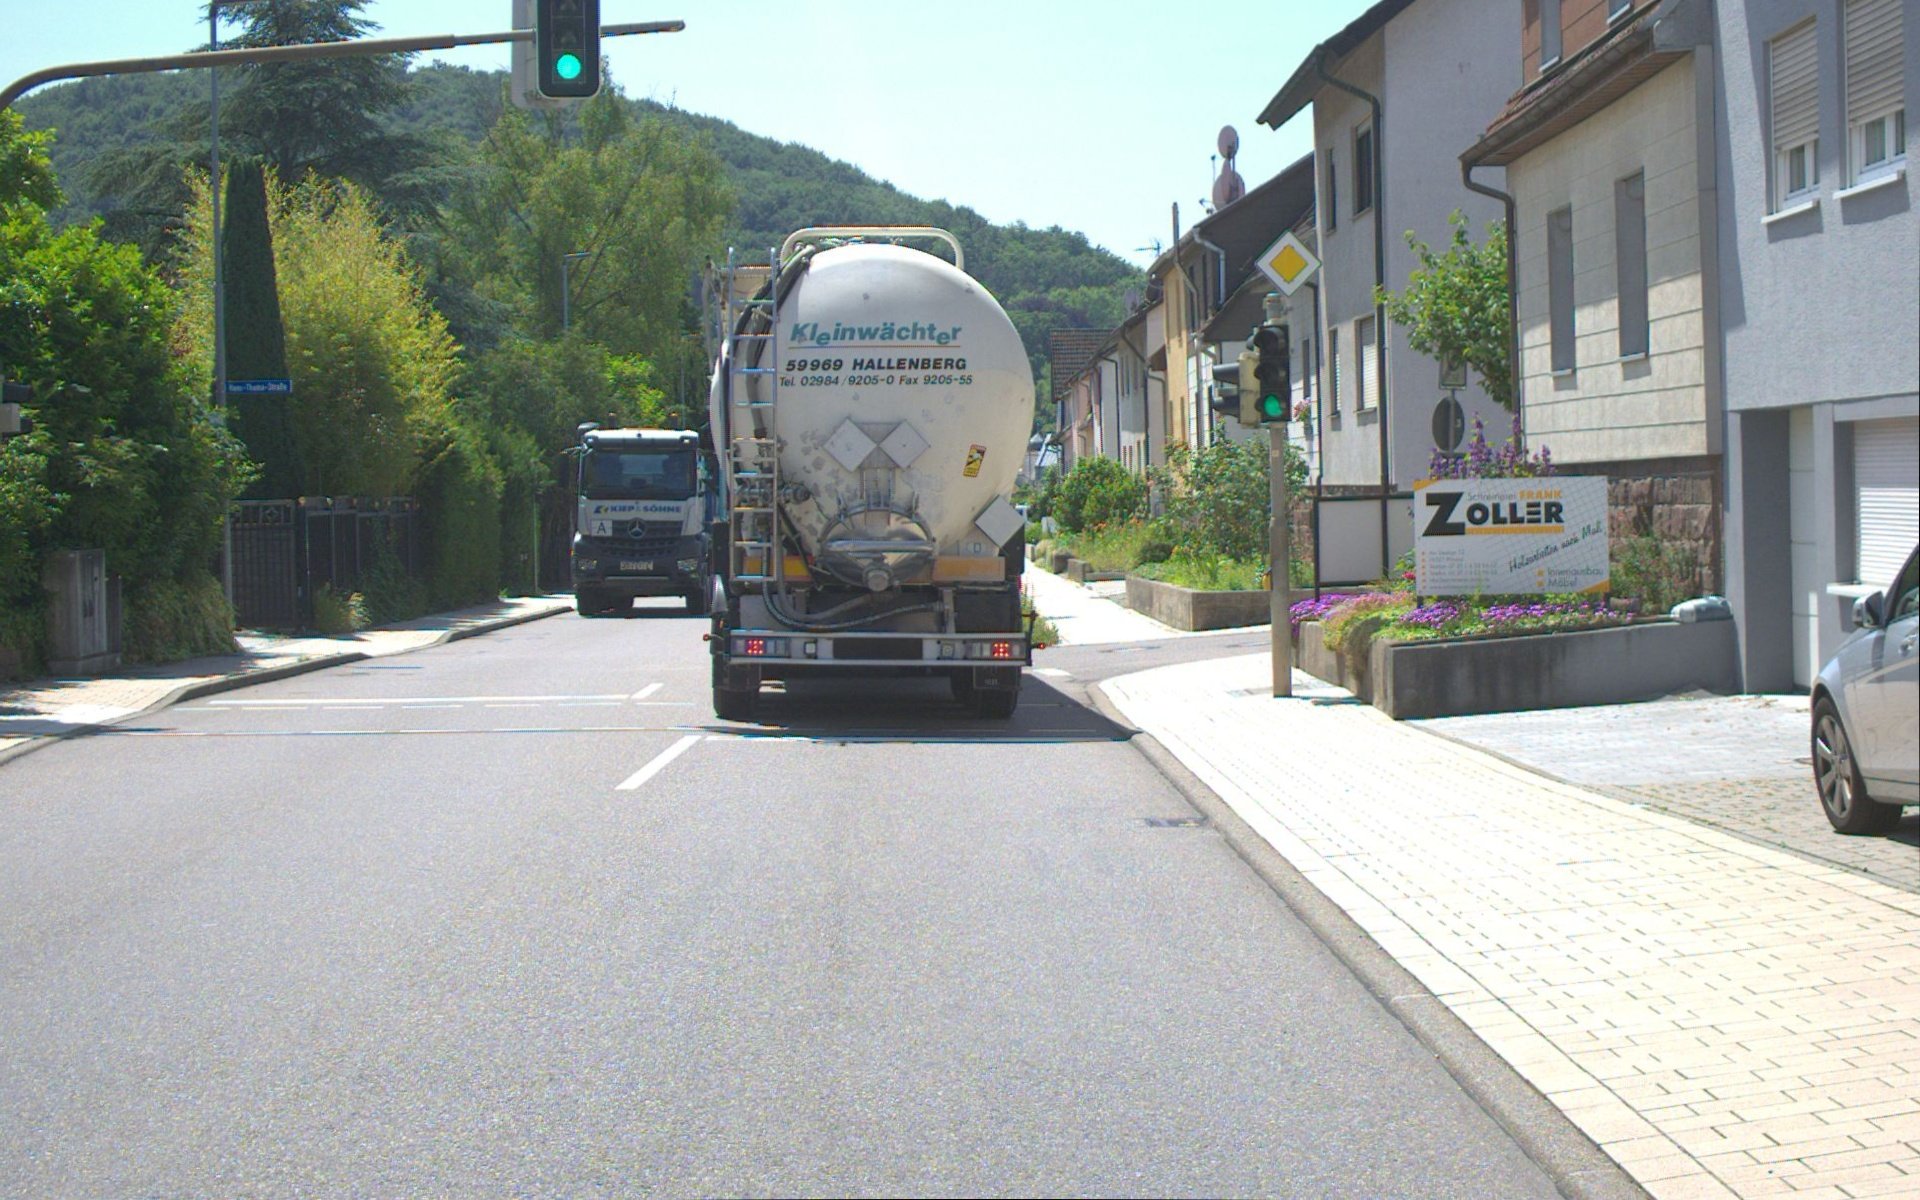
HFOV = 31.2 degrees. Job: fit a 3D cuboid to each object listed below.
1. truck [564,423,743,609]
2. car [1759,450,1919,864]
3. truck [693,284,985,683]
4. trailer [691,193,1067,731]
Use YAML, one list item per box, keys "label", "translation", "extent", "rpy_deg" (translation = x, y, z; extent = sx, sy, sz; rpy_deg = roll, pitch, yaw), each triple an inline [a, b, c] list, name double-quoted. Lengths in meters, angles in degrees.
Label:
- label: "truck"
  translation: [-5.826, -1.608, 66.530]
  extent: [2.728, 3.360, 8.635]
  rpy_deg: [0, 1, 0]
- label: "car"
  translation: [4.411, 0.140, 12.814]
  extent: [1.791, 1.536, 4.519]
  rpy_deg: [-5, 1, 1]
- label: "truck"
  translation: [-1.432, -1.209, 37.103]
  extent: [2.808, 3.923, 6.100]
  rpy_deg: [0, 1, -5]
- label: "trailer"
  translation: [-0.933, -1.125, 30.757]
  extent: [2.796, 3.987, 10.325]
  rpy_deg: [0, 1, -4]
